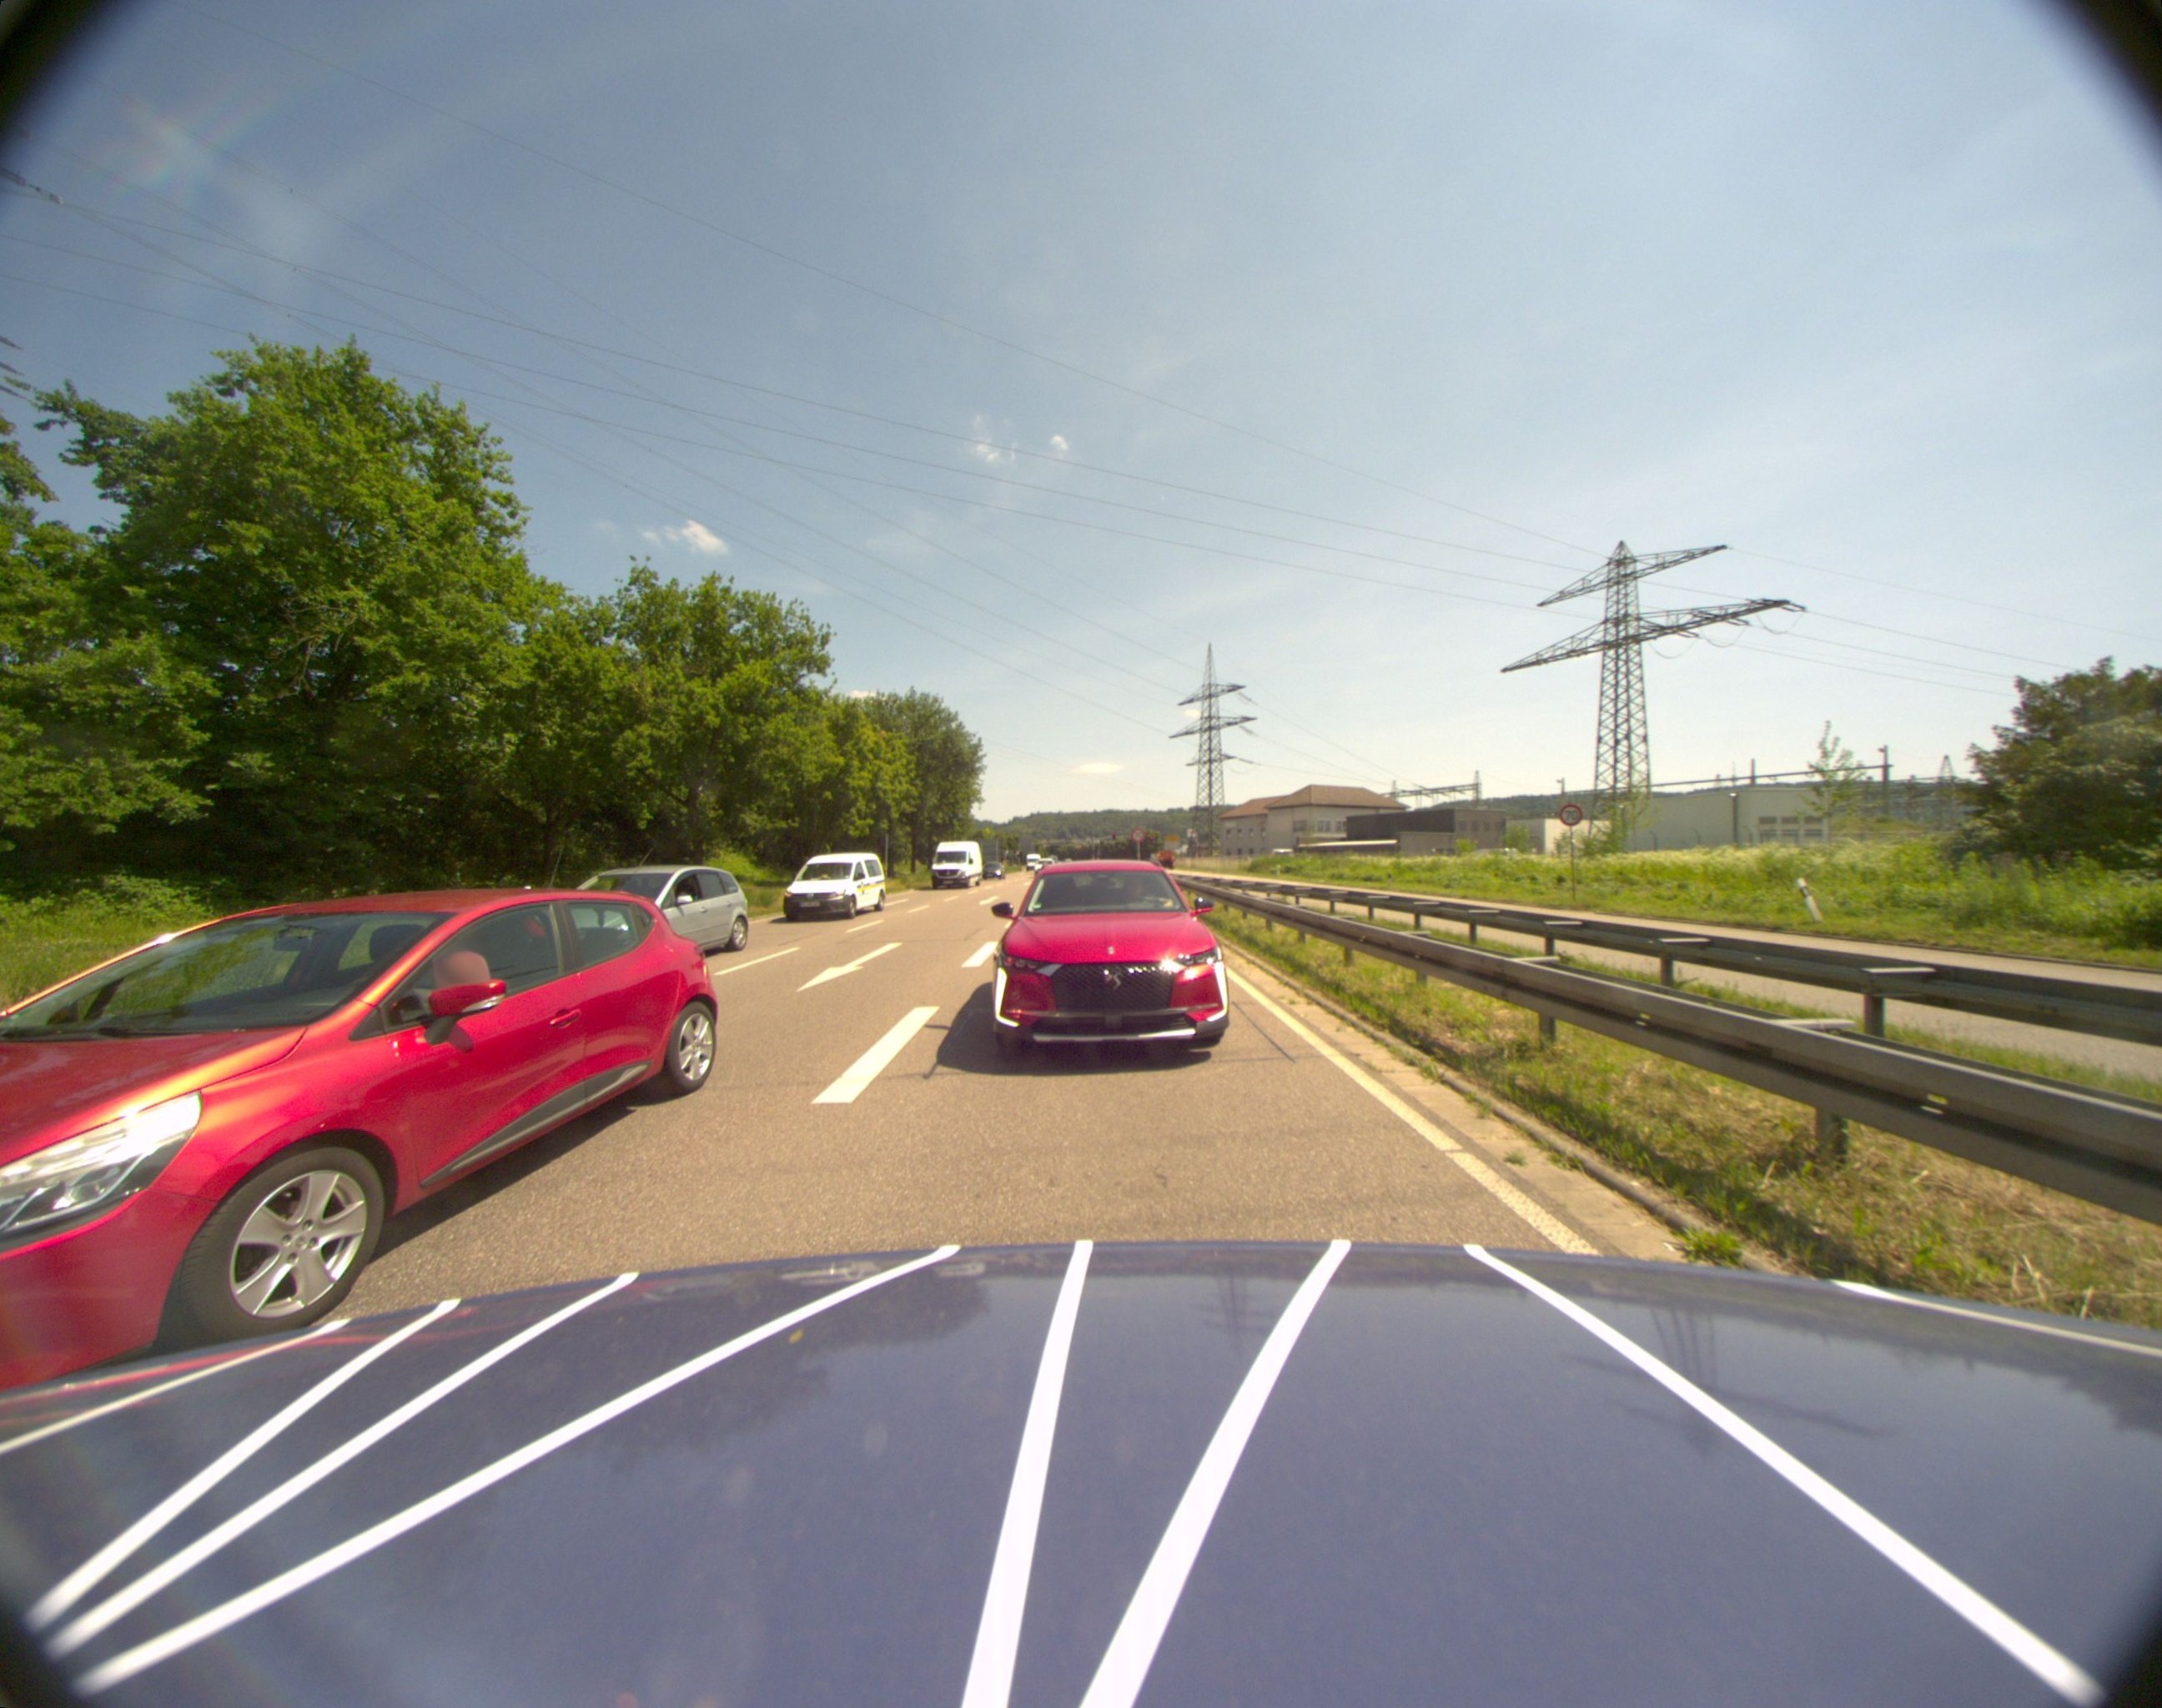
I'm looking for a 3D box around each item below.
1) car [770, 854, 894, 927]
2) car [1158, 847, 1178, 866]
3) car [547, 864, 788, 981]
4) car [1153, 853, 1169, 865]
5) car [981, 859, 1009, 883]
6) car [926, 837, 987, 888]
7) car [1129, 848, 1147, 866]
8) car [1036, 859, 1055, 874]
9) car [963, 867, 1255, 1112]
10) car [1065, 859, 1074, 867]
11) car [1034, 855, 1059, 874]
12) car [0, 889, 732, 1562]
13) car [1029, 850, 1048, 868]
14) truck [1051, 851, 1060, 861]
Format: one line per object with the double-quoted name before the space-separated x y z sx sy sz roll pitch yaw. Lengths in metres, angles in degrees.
"car" -6.962 0.928 21.867 1.809 1.790 5.037 -2 0 0
"car" 14.332 0.461 125.613 2.607 3.043 5.638 0 0 0
"car" -6.852 1.031 13.208 1.747 1.585 4.272 -2 0 1
"car" 14.229 0.890 135.414 1.999 1.904 3.998 -2 1 -3
"car" -7.028 1.362 62.082 1.878 1.674 3.998 -2 1 -2
"car" -6.936 0.456 43.217 2.232 2.592 7.018 -2 0 0
"car" 9.754 0.517 130.349 2.607 3.043 5.638 0 0 0
"car" -4.078 1.404 87.658 1.850 1.559 4.148 -2 0 1
"car" 0.210 0.922 7.145 1.846 1.453 4.414 -2 0 1
"car" -2.672 2.060 177.437 1.878 1.674 3.998 -2 1 -2
"car" -3.029 0.876 67.392 1.850 1.559 4.363 -2 0 1
"car" -3.487 1.014 3.547 1.747 1.453 4.065 -2 0 1
"car" -6.319 0.702 112.838 2.308 2.408 5.814 -2 0 1
"truck" -6.534 0.495 192.775 2.170 2.428 4.909 -2 1 -2
